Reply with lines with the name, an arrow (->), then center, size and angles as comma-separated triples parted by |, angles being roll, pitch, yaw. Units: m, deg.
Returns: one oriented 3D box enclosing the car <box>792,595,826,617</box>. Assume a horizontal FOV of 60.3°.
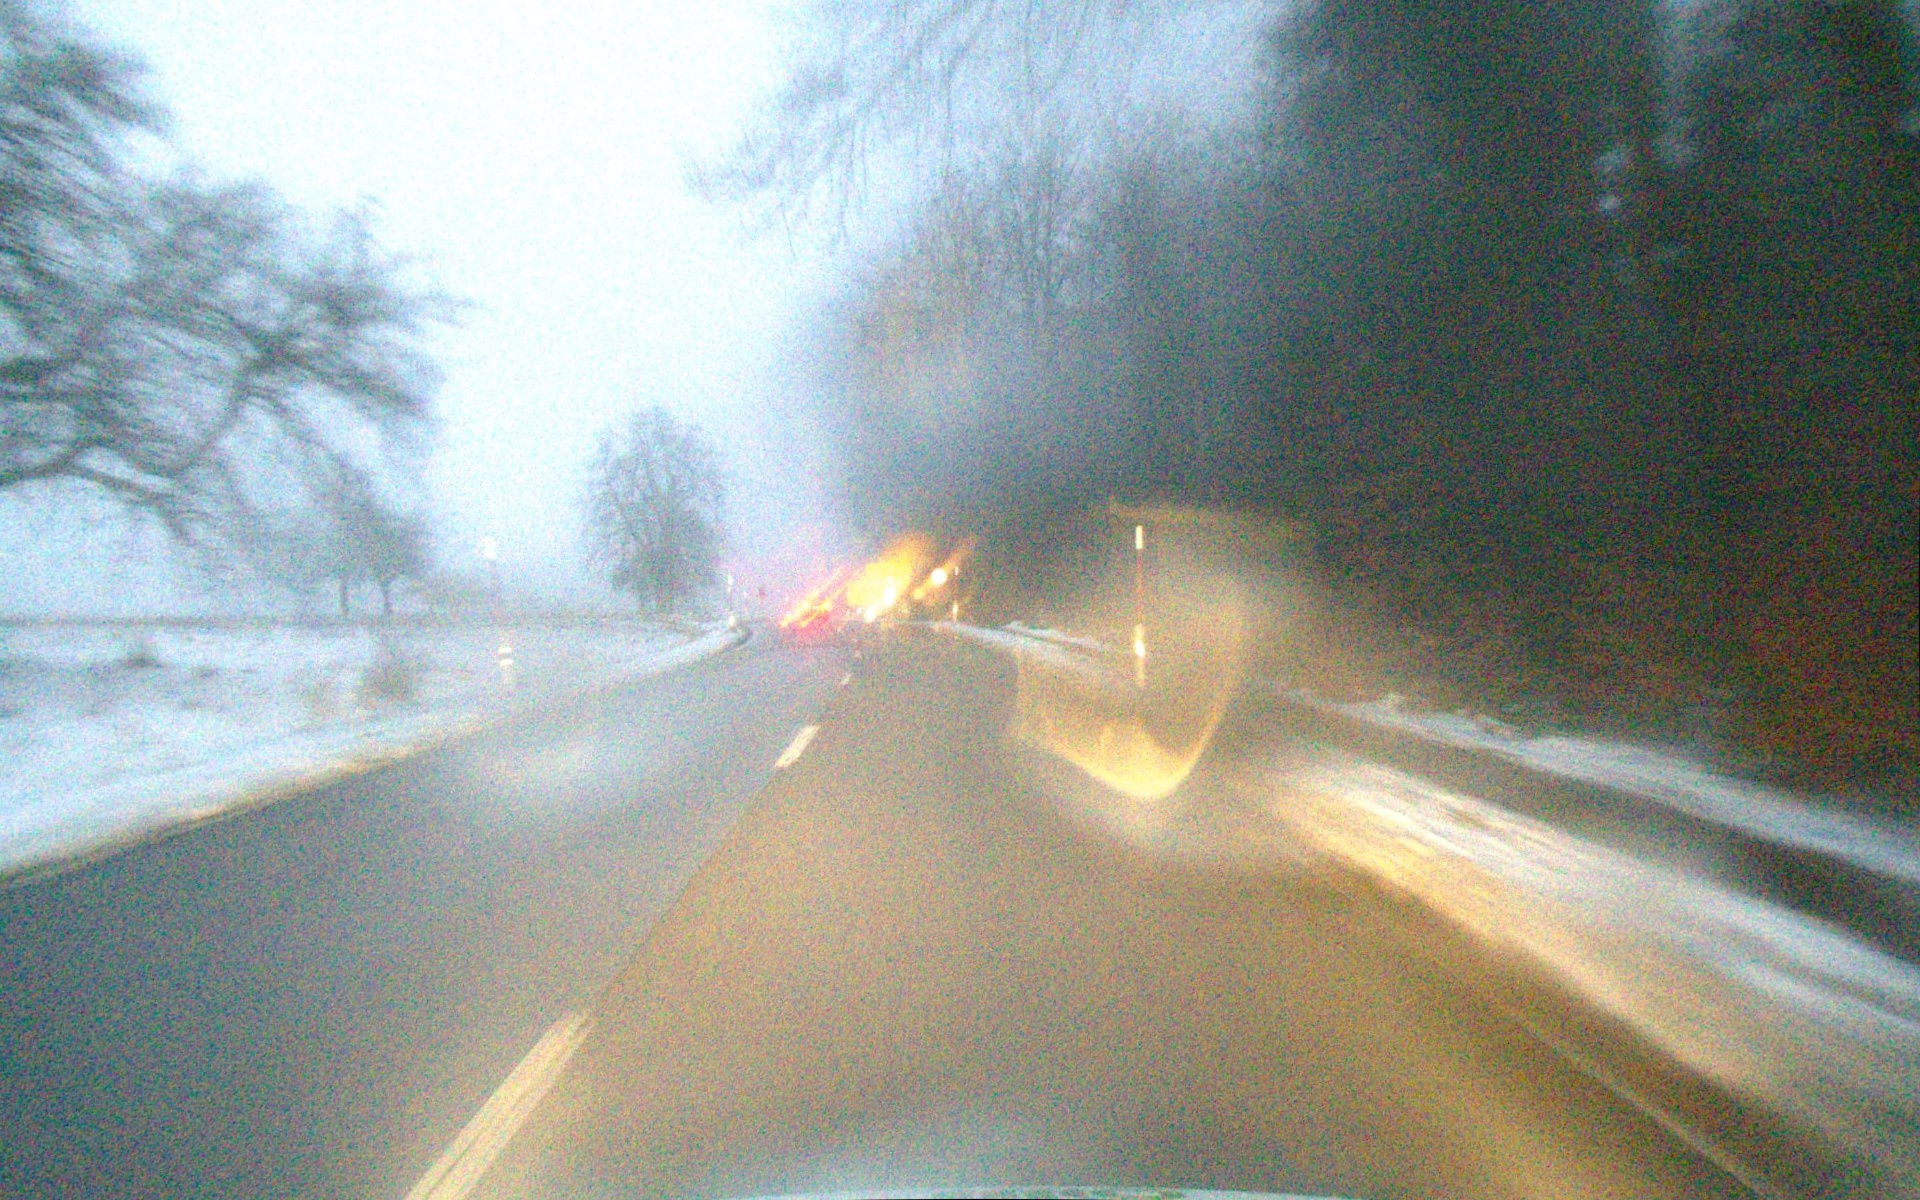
car -> -9.760, 0.369, 107.150 | 1.883, 1.299, 3.999 | -1, 1, -1
